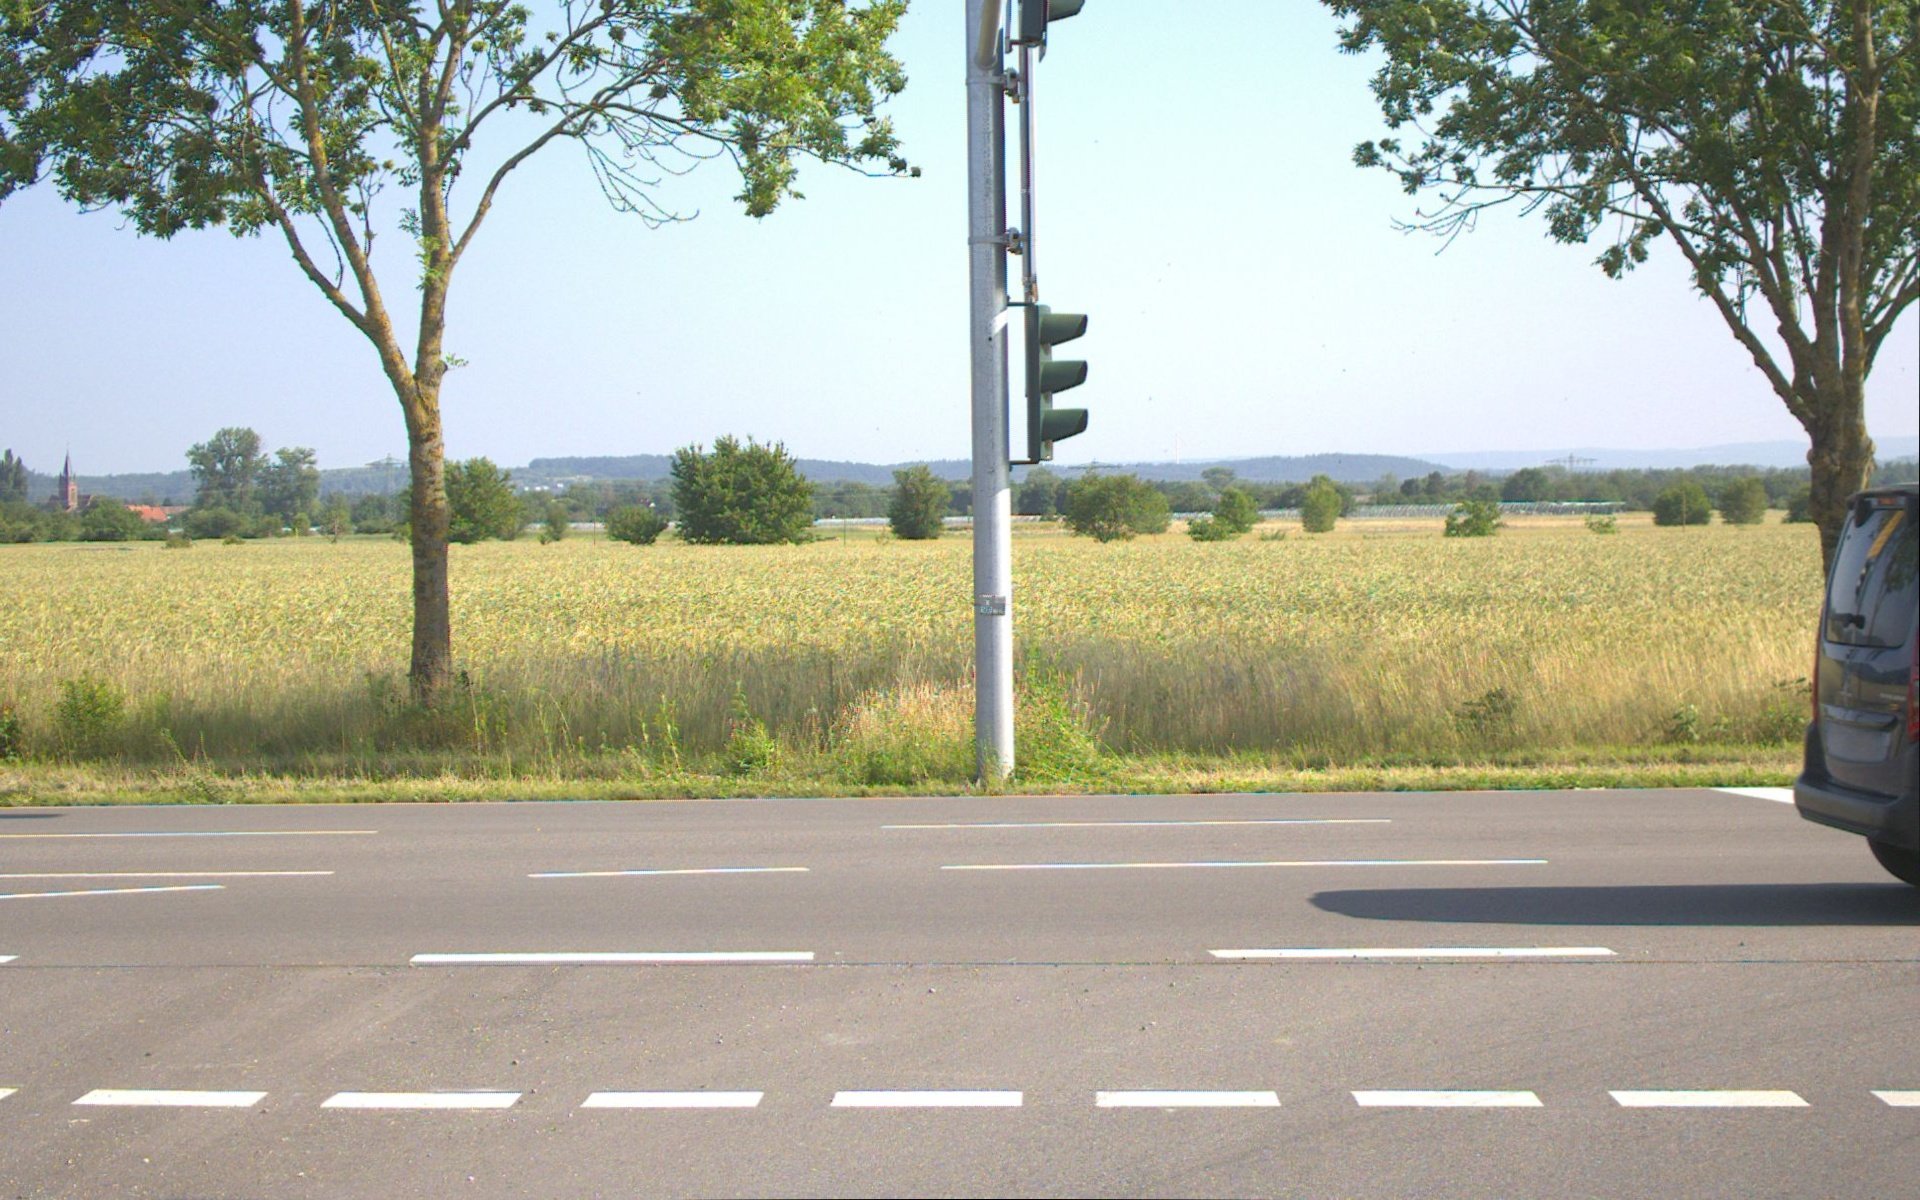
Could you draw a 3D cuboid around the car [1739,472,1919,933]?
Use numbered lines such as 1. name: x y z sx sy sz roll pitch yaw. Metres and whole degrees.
1. car: 5.748 0.395 14.580 4.452 1.827 1.846 0 0 -1
